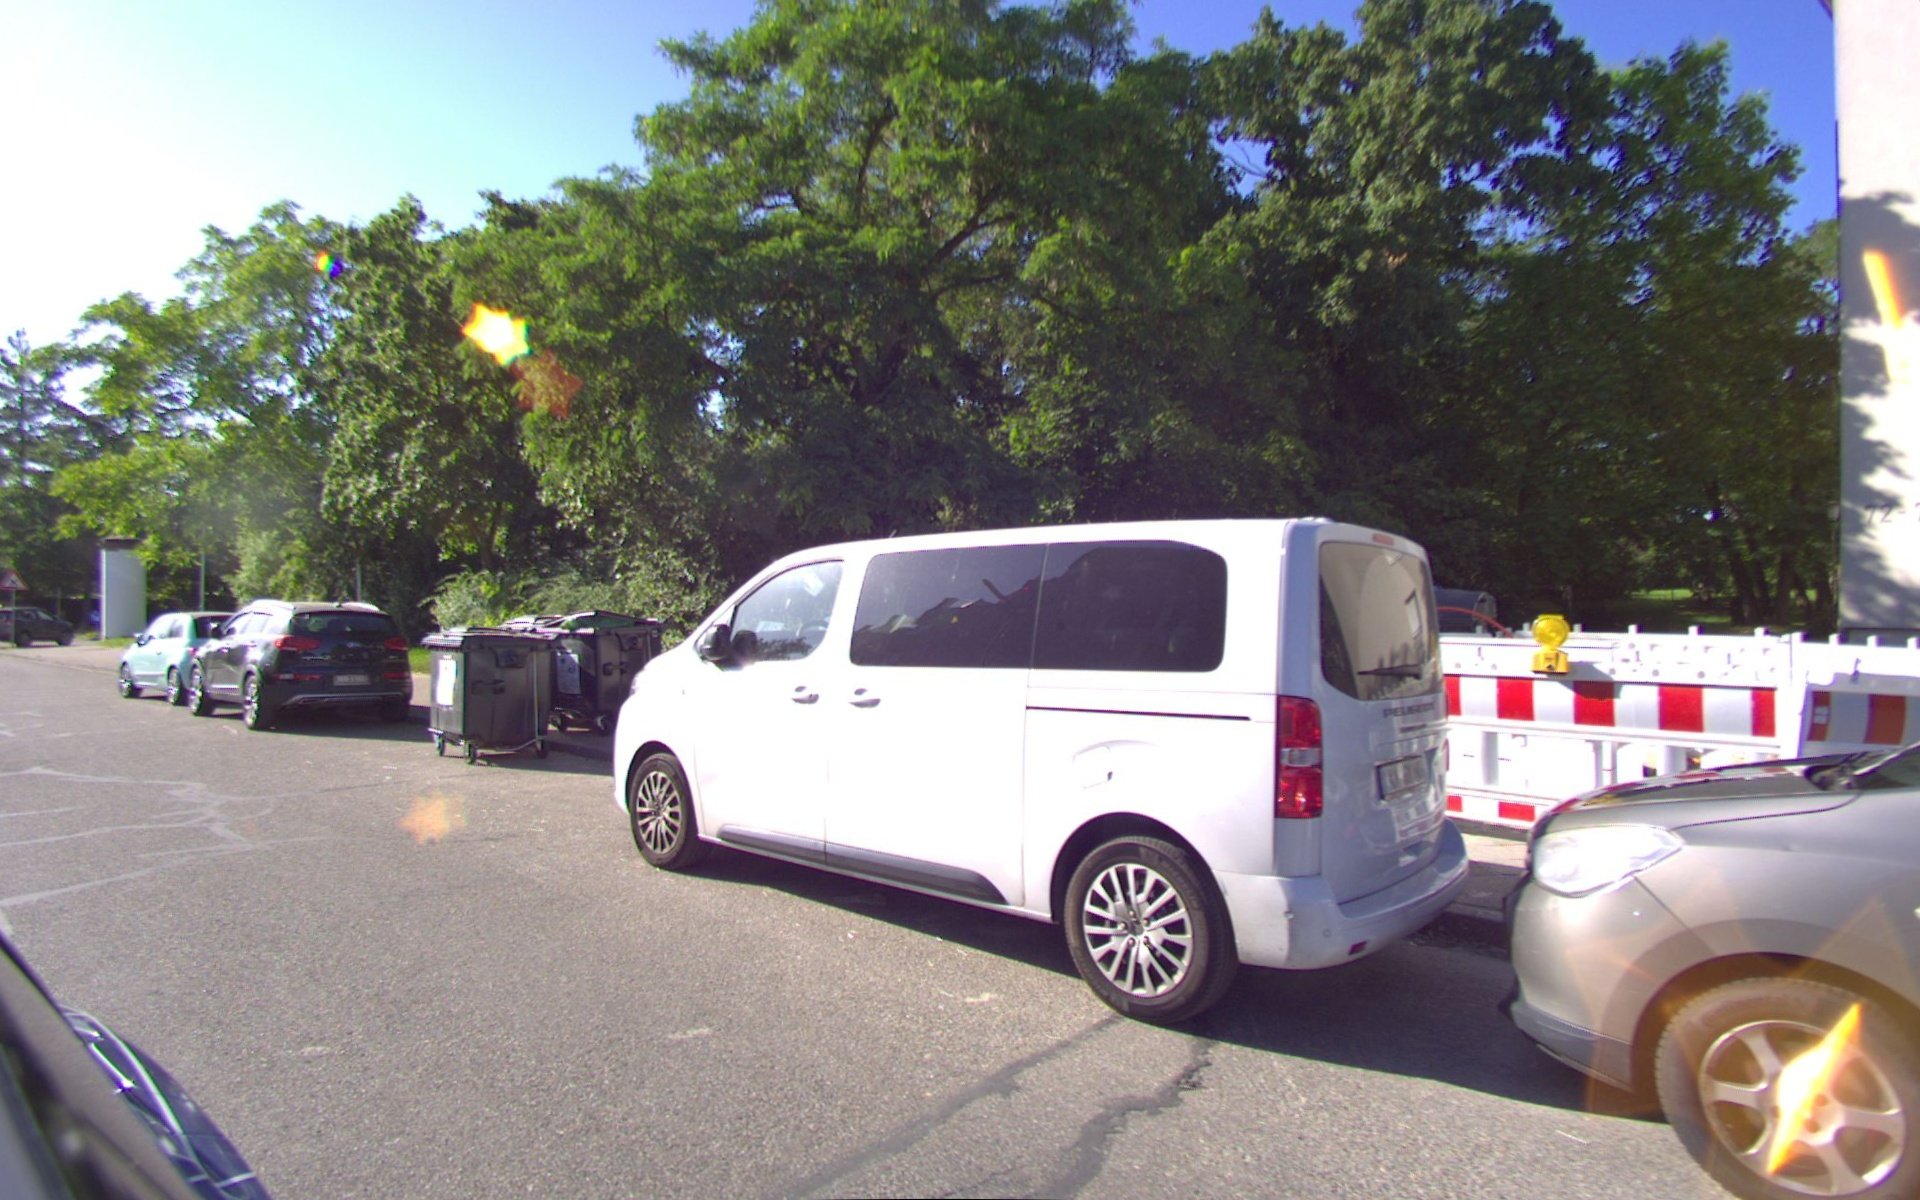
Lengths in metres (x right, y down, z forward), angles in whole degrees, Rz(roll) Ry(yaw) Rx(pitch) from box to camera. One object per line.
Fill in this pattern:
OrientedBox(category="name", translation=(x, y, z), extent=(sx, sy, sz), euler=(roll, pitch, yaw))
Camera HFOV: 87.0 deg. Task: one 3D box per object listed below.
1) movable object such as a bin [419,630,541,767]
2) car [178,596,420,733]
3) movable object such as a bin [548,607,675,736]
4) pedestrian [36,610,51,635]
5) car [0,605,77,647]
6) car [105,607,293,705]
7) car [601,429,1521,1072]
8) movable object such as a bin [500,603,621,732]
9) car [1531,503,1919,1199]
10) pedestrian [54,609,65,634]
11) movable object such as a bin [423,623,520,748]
OrientedBox(category="movable object such as a bin", translation=(-5.024, 0.978, 10.573), extent=(0.793, 1.326, 1.322), euler=(1, -2, -43))
OrientedBox(category="car", translation=(-9.342, 0.827, 14.174), extent=(4.247, 1.651, 1.657), euler=(-1, -3, 40))
OrientedBox(category="movable object such as a bin", translation=(-4.040, 0.803, 11.775), extent=(0.890, 1.411, 1.053), euler=(-1, -2, 31))
OrientedBox(category="pedestrian", translation=(-56.669, 1.363, 62.563), extent=(0.392, 1.532, 0.536), euler=(0, -1, 15))
OrientedBox(category="car", translation=(-40.455, 1.121, 43.512), extent=(1.888, 1.718, 4.194), euler=(1, -2, -11))
OrientedBox(category="car", translation=(-13.225, 0.905, 17.556), extent=(3.411, 1.539, 1.612), euler=(-1, -1, 35))
OrientedBox(category="car", translation=(0.147, 0.499, 5.369), extent=(4.669, 1.976, 1.844), euler=(-1, -2, 42))
OrientedBox(category="movable object such as a bin", translation=(-4.853, 0.787, 12.330), extent=(0.890, 1.479, 1.053), euler=(-2, -1, 31))
OrientedBox(category="car", translation=(3.738, 0.638, 1.963), extent=(4.341, 1.735, 1.538), euler=(-1, -2, 43))
OrientedBox(category="pedestrian", translation=(-55.985, 1.322, 62.932), extent=(0.538, 1.573, 0.391), euler=(0, -1, 42))
OrientedBox(category="movable object such as a bin", translation=(-5.665, 0.948, 11.715), extent=(1.269, 1.350, 0.602), euler=(-1, -1, 44))
